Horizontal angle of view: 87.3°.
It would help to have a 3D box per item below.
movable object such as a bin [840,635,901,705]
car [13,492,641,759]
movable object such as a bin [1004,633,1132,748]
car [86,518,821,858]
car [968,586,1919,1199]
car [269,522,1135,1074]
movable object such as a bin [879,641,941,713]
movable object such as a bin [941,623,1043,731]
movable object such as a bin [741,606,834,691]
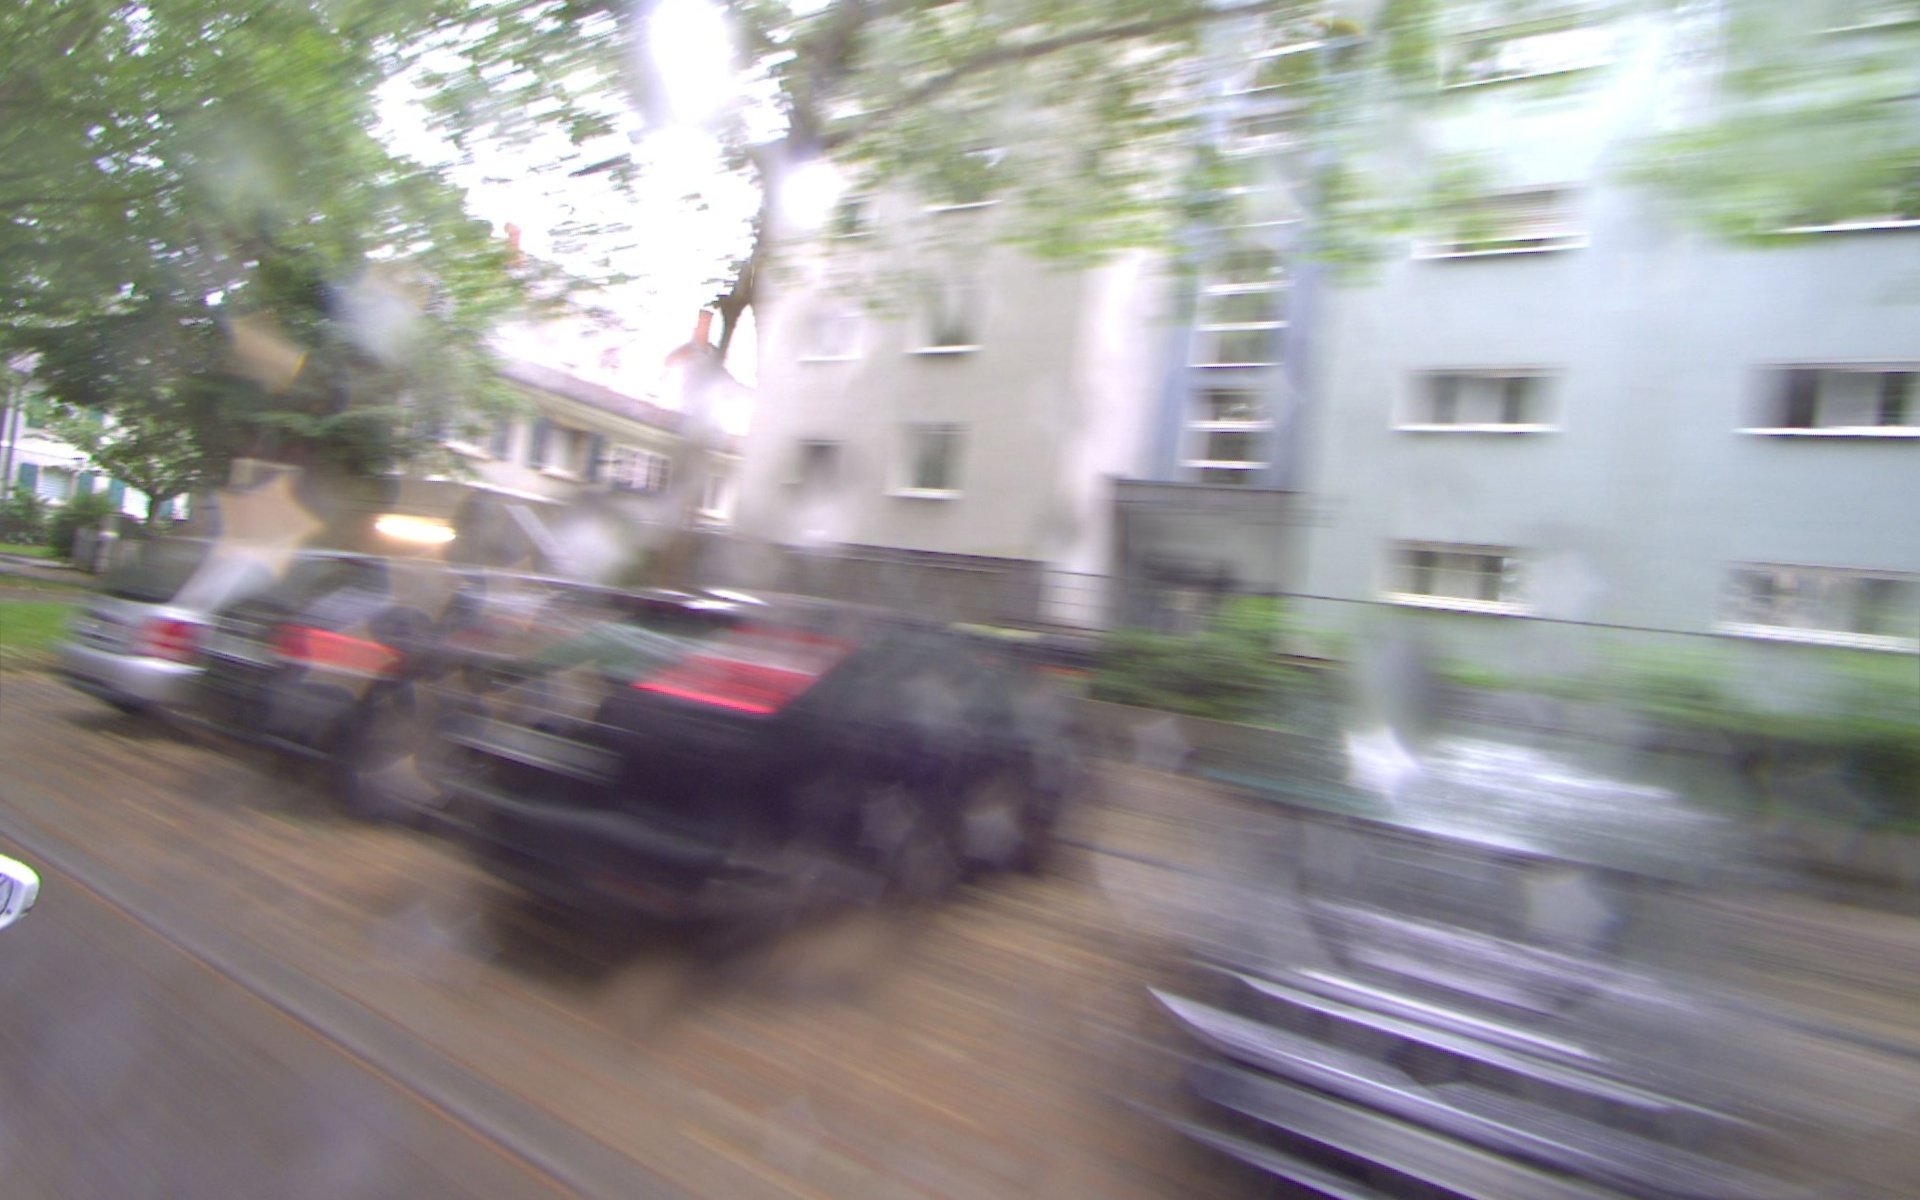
[{"bbox_3d":[-1.505,1.177,16.919,0.611,1.079,0.688,7,-1,31],"label":"movable object such as a bin"},{"bbox_3d":[-4.878,0.307,8.385,1.651,1.597,3.995,7,-2,31],"label":"car"},{"bbox_3d":[1.595,1.325,14.784,1.323,1.455,1.206,7,-1,32],"label":"movable object such as a bin"},{"bbox_3d":[-2.906,0.558,6.697,1.651,1.454,3.995,7,-2,31],"label":"car"},{"bbox_3d":[1.830,1.041,3.981,1.750,1.547,4.053,7,-3,29],"label":"car"},{"bbox_3d":[-0.785,0.749,5.211,1.833,1.531,4.109,7,-2,31],"label":"car"},{"bbox_3d":[-0.811,1.256,16.412,0.611,1.079,0.661,7,-1,31],"label":"movable object such as a bin"},{"bbox_3d":[0.492,1.177,15.365,1.095,1.455,0.865,7,-1,32],"label":"movable object such as a bin"},{"bbox_3d":[-3.048,0.859,17.787,1.154,1.326,0.904,7,-1,32],"label":"movable object such as a bin"}]
